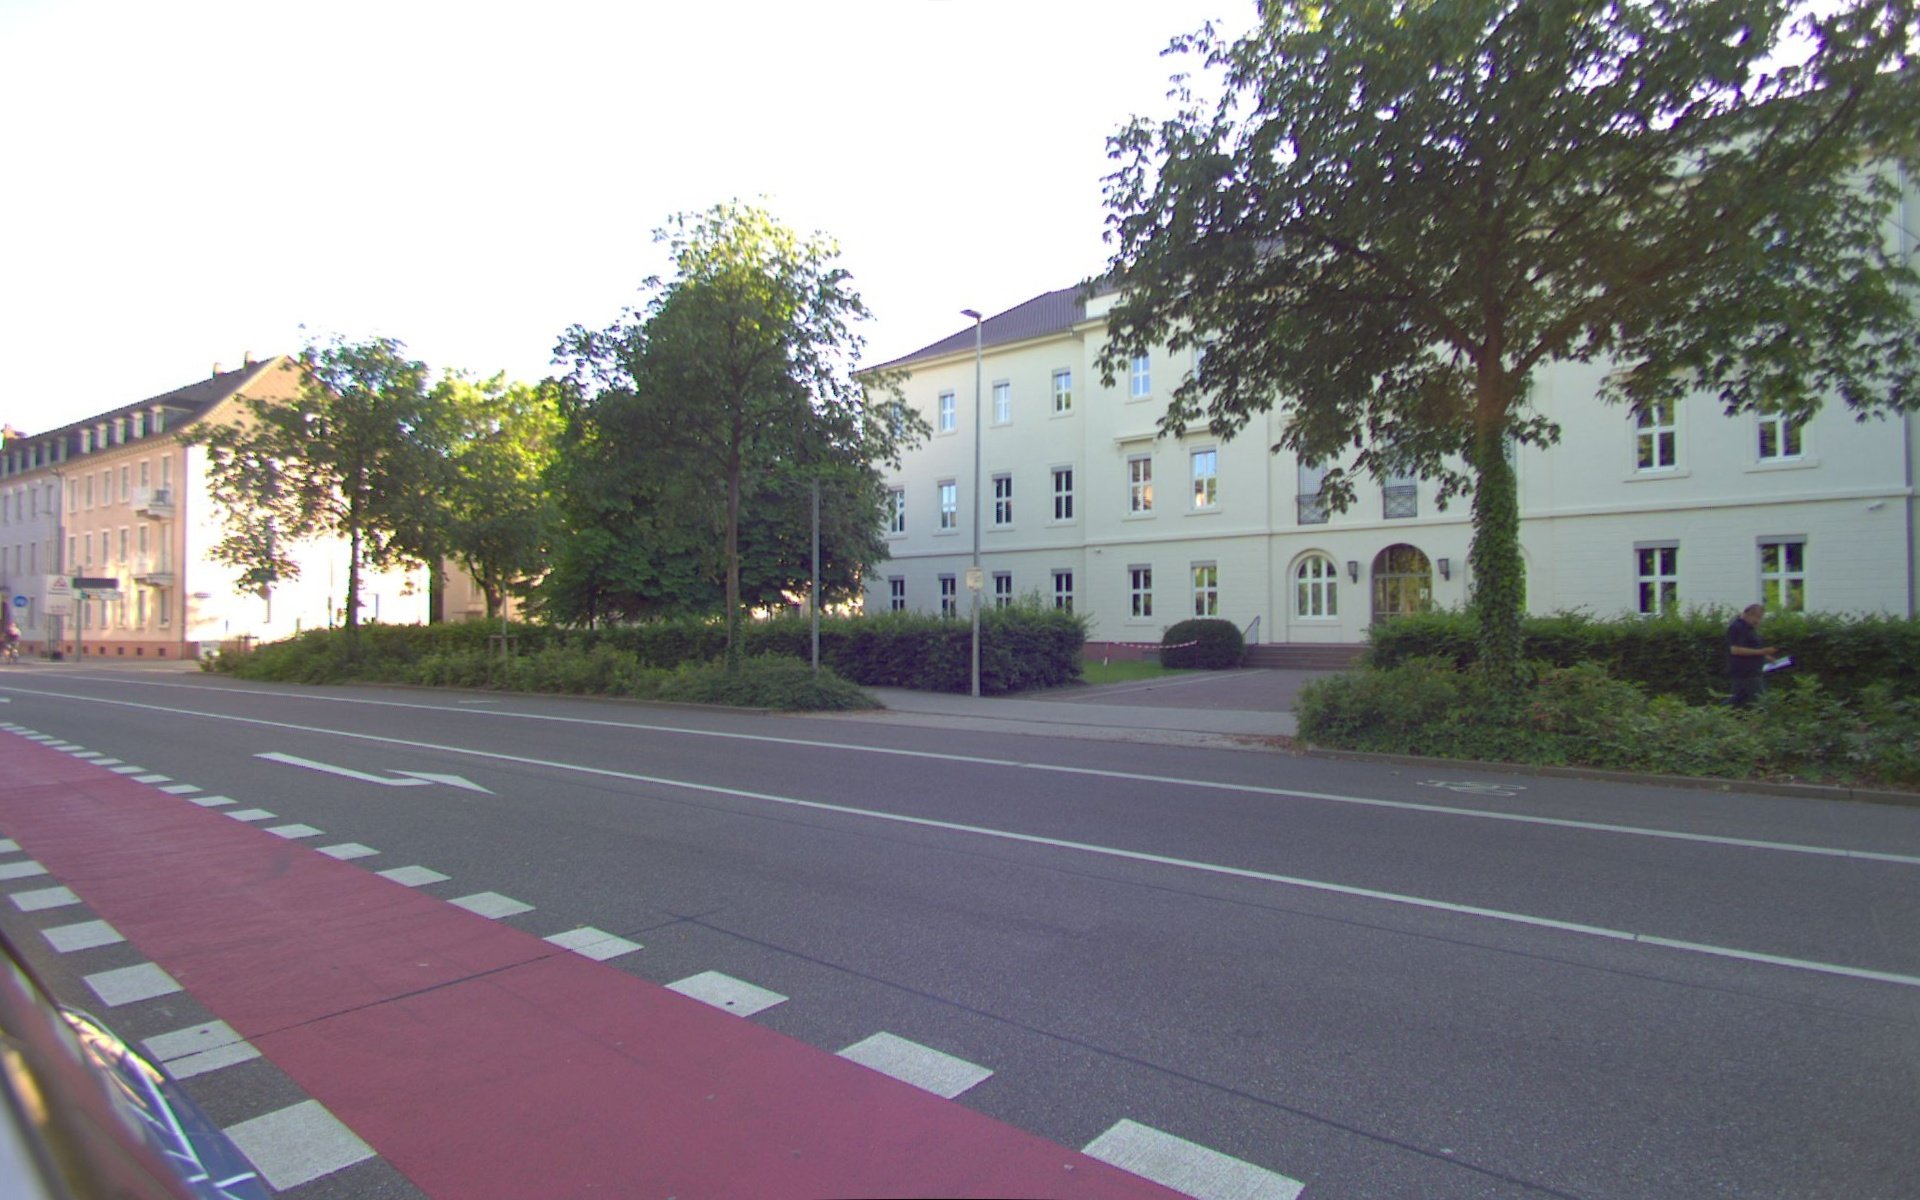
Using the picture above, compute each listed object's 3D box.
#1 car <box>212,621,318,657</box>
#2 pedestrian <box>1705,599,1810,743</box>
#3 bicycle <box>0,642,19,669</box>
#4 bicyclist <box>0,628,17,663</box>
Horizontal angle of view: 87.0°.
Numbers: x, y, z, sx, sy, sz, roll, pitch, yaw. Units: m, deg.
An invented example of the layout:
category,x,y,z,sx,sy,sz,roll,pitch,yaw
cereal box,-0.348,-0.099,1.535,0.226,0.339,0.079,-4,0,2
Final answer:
category,x,y,z,sx,sy,sz,roll,pitch,yaw
car,-34.696,1.904,50.626,1.993,1.674,3.958,-1,-1,31
pedestrian,10.120,0.876,12.844,0.968,1.733,0.826,-2,-3,41
bicycle,-43.337,2.503,45.794,2.242,1.168,0.688,-2,-4,38
bicyclist,-43.227,2.039,45.734,0.837,1.574,0.683,-2,-4,37
